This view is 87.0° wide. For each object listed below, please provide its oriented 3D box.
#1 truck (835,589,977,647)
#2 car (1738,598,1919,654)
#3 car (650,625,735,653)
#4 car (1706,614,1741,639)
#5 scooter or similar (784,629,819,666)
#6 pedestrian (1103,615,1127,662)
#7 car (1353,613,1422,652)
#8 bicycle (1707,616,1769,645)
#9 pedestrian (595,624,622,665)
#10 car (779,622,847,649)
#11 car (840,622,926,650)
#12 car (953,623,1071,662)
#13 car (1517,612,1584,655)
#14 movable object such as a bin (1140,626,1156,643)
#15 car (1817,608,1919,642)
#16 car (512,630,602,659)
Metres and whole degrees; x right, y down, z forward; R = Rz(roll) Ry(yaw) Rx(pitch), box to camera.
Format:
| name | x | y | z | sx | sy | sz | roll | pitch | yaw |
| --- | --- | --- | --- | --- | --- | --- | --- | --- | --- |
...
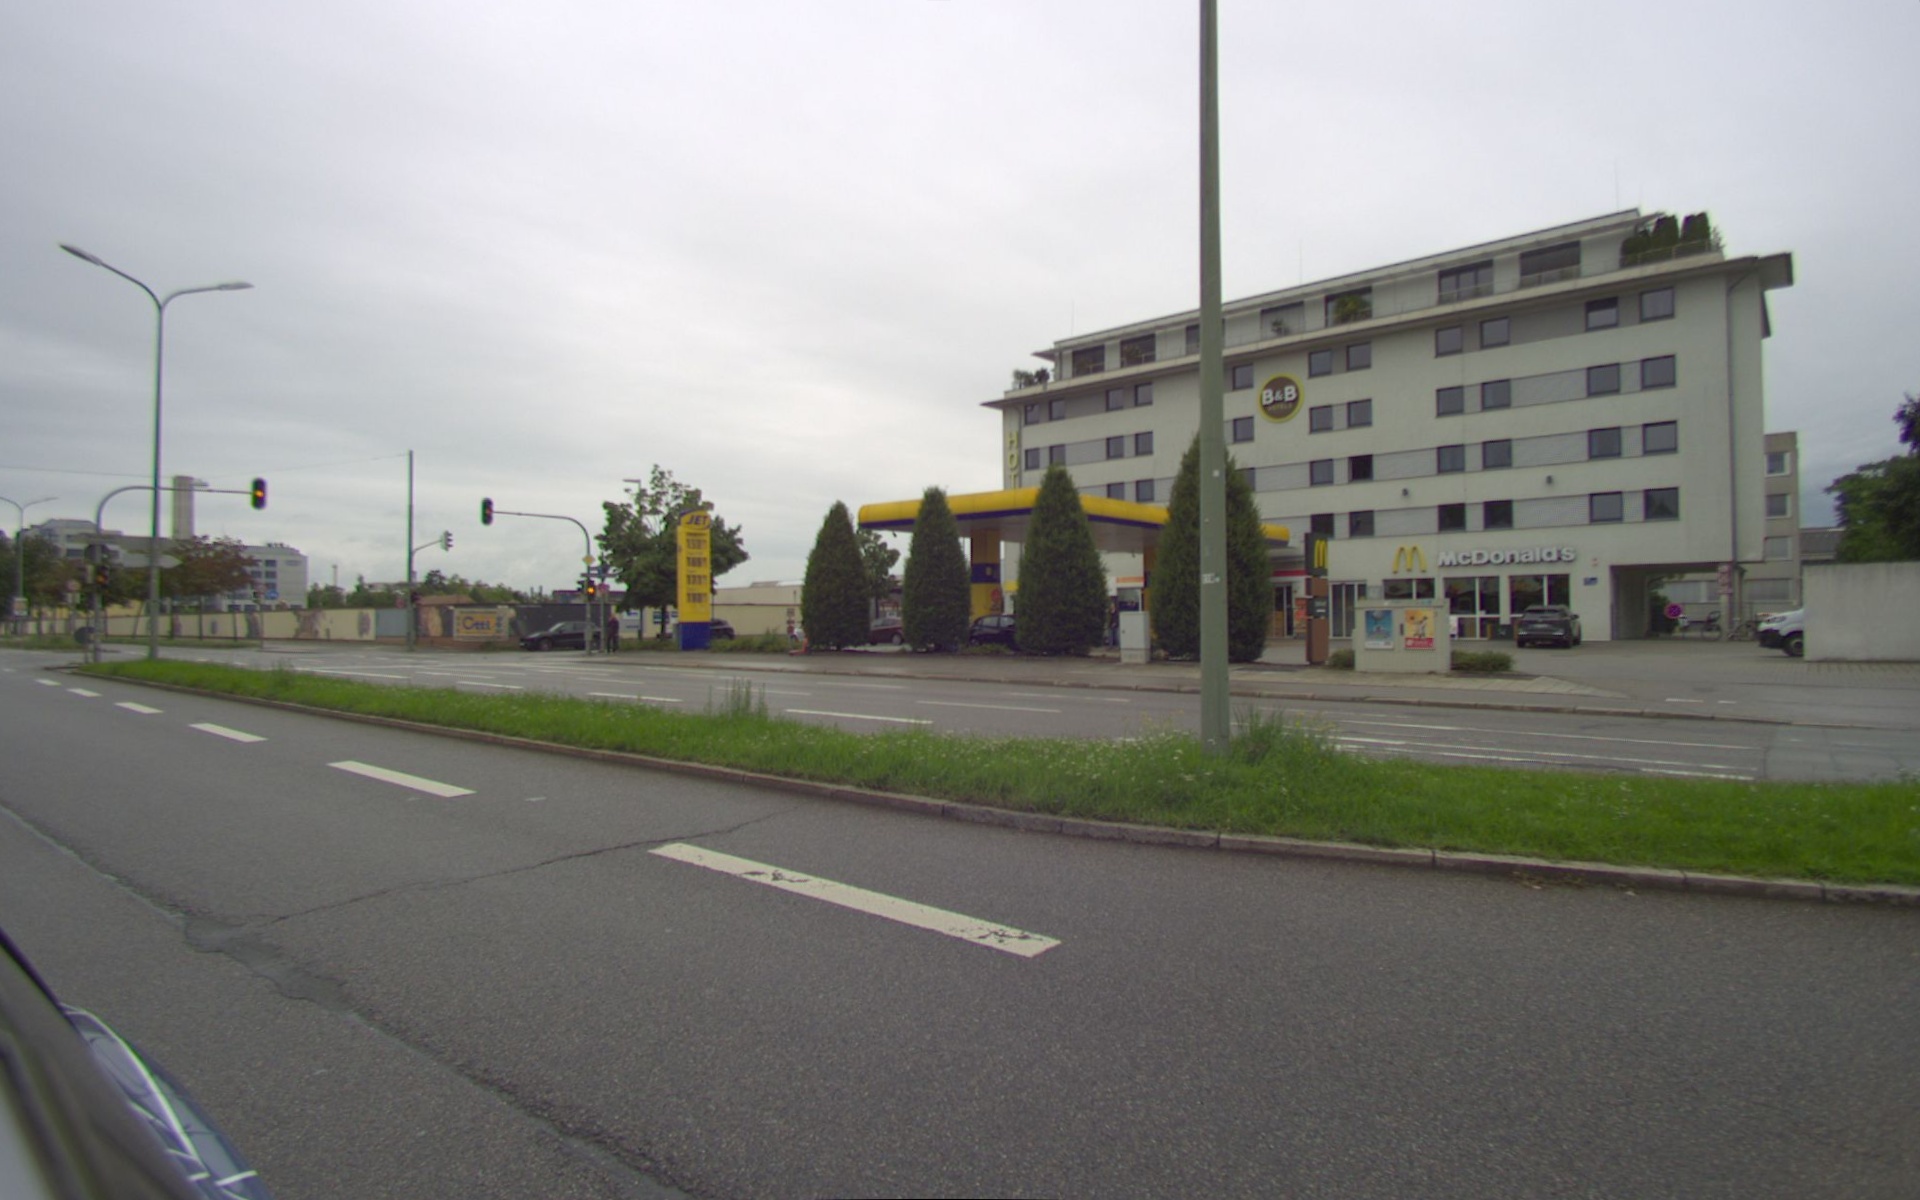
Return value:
| name | x | y | z | sx | sy | sz | roll | pitch | yaw |
| --- | --- | --- | --- | --- | --- | --- | --- | --- | --- |
| truck | -3.681 | 1.276 | 73.595 | 2.610 | 3.885 | 11.766 | -2 | -2 | 43 |
| car | 24.359 | 0.755 | 28.320 | 3.998 | 1.450 | 1.806 | -2 | -3 | 41 |
| car | -15.824 | 2.315 | 60.008 | 2.000 | 1.544 | 4.566 | -2 | -2 | 43 |
| car | 59.129 | 2.095 | 78.345 | 1.998 | 1.830 | 3.947 | -2 | -3 | 40 |
| scooter or similar | -5.554 | 1.675 | 35.445 | 0.351 | 1.252 | 1.546 | -2 | 0 | -44 |
| pedestrian | 5.803 | 1.450 | 37.881 | 0.642 | 1.742 | 0.700 | -2 | -3 | 37 |
| car | 18.557 | 1.388 | 43.840 | 1.705 | 1.599 | 3.948 | -2 | -2 | 39 |
| bicycle | 30.454 | 1.205 | 39.645 | 1.869 | 1.125 | 0.444 | -1 | -3 | 32 |
| pedestrian | -14.636 | 1.848 | 42.134 | 0.687 | 1.627 | 0.794 | -2 | 0 | 40 |
| car | -8.402 | 2.045 | 57.694 | 3.974 | 1.497 | 1.607 | -2 | -3 | 39 |
| car | -4.074 | 1.904 | 53.121 | 4.348 | 1.395 | 1.686 | -1 | -3 | 31 |
| car | 1.828 | 1.524 | 36.303 | 3.996 | 1.342 | 1.776 | -2 | -3 | 40 |
| car | 23.308 | 1.322 | 39.894 | 1.705 | 1.599 | 3.948 | -2 | -2 | 39 |
| movable object such as a bin | 10.727 | 1.965 | 57.710 | 0.686 | 0.970 | 0.629 | -2 | -3 | 40 |
| car | 48.150 | 1.335 | 53.619 | 4.002 | 1.722 | 1.632 | -2 | -4 | 45 |
| car | -22.279 | 2.441 | 56.069 | 2.000 | 1.439 | 4.203 | -2 | -2 | 43 |
